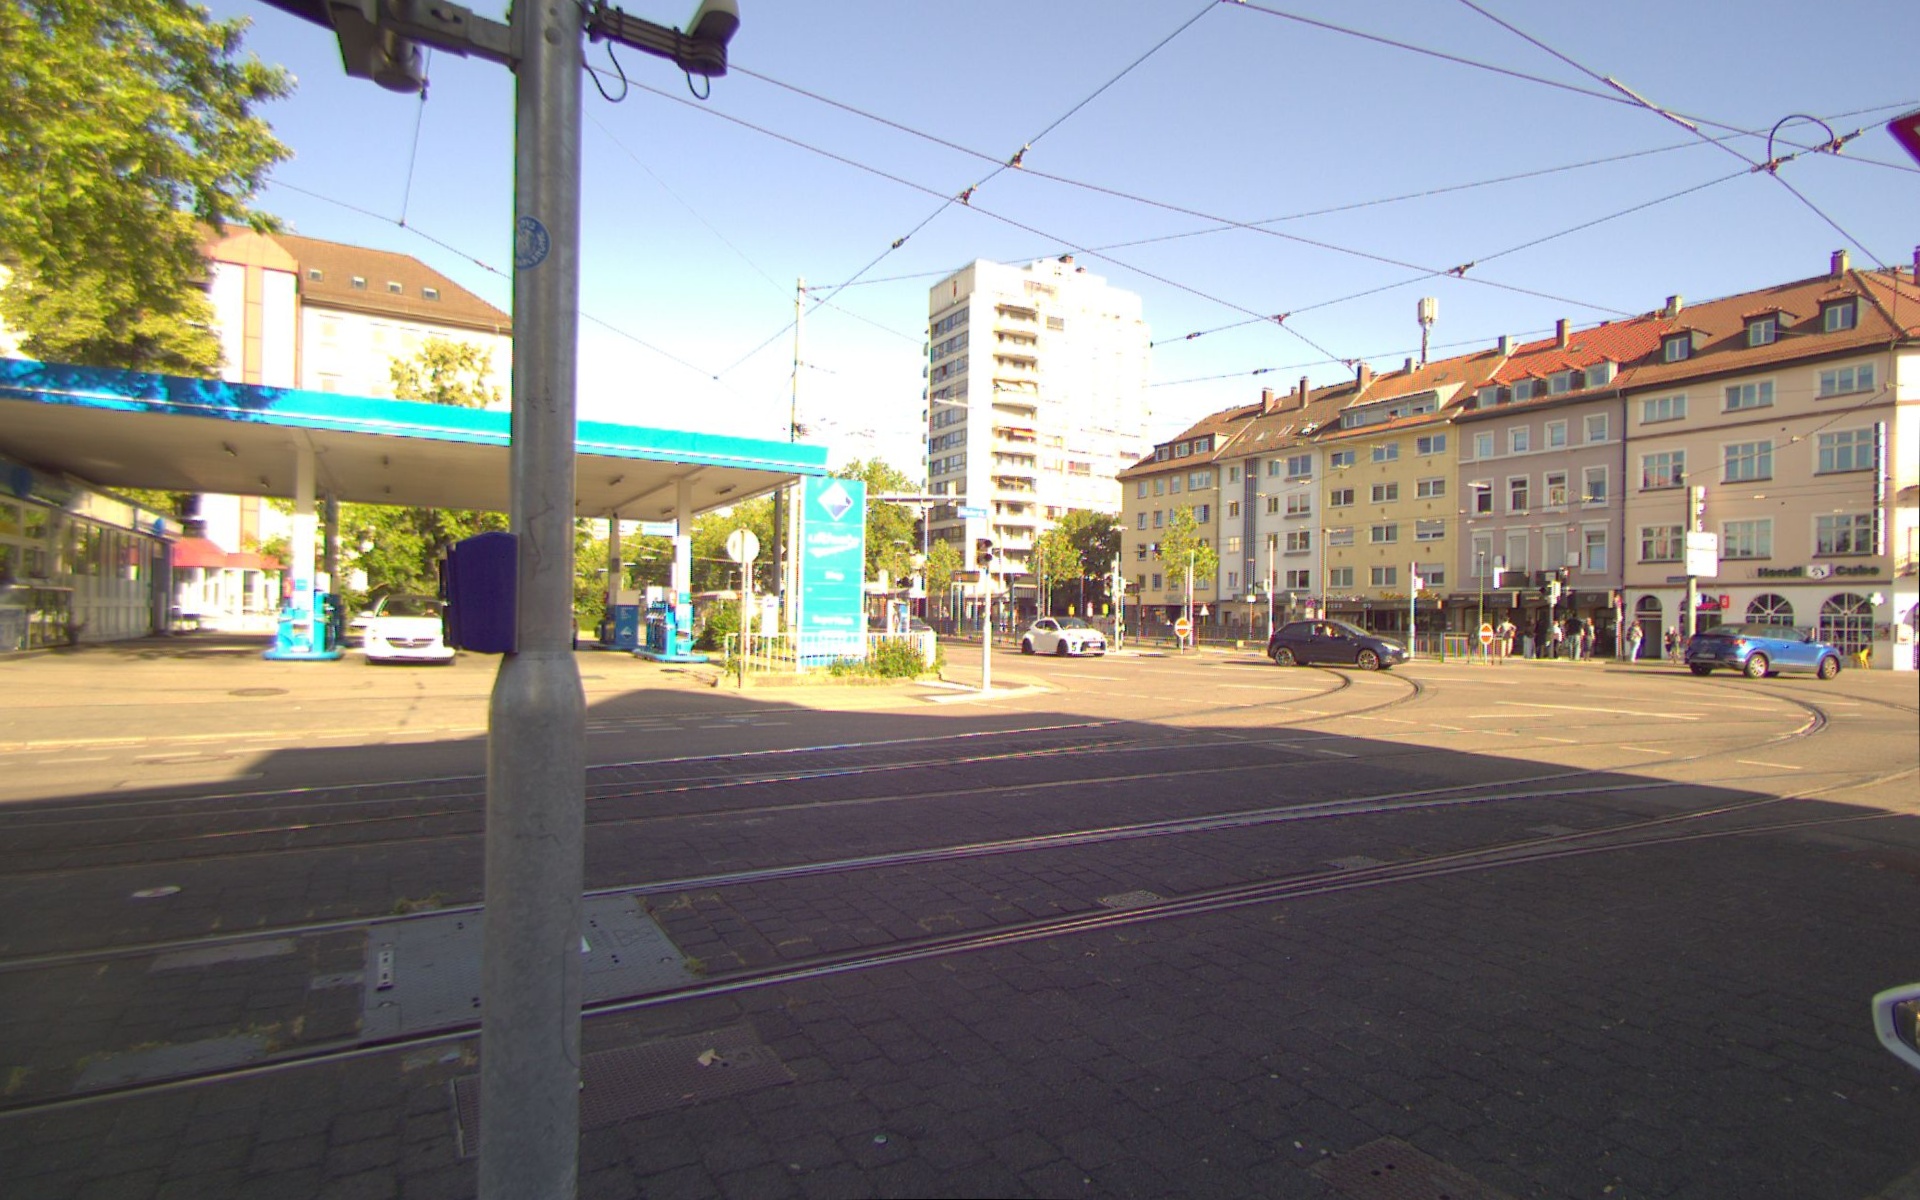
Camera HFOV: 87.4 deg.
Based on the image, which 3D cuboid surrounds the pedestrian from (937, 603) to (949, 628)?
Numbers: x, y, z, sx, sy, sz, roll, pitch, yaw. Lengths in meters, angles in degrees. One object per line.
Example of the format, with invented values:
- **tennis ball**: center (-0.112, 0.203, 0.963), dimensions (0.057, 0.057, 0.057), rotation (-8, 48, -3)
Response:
- **pedestrian**: center (-1.498, 1.331, 87.433), dimensions (0.729, 2.127, 0.880), rotation (2, 0, -21)

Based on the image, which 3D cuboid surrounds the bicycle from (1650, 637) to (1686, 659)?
- **bicycle**: center (34.003, 2.312, 48.241), dimensions (1.731, 1.044, 0.619), rotation (2, 0, -25)

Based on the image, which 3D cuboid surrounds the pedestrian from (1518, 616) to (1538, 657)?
- **pedestrian**: center (23.624, 1.514, 41.762), dimensions (0.492, 1.670, 0.520), rotation (2, 0, -30)

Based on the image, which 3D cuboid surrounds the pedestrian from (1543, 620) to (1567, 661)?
- **pedestrian**: center (25.136, 1.707, 42.458), dimensions (0.719, 1.670, 0.570), rotation (2, 0, -30)

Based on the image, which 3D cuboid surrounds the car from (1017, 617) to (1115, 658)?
- **car**: center (3.973, 1.393, 38.128), dimensions (1.874, 1.473, 3.981), rotation (0, -1, -27)

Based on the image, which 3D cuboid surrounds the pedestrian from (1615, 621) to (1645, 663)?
- **pedestrian**: center (26.365, 1.659, 39.536), dimensions (0.805, 1.615, 0.665), rotation (2, 0, -30)

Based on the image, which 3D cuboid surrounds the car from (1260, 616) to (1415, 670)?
- **car**: center (11.171, 1.229, 29.802), dimensions (3.938, 1.422, 1.824), rotation (0, -1, 39)

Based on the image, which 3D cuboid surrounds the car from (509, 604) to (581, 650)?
- **car**: center (-13.524, 0.857, 32.646), dimensions (1.659, 1.372, 3.559), rotation (2, 0, -31)

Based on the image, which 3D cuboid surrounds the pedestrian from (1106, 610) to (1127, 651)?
- **pedestrian**: center (6.359, 1.236, 40.712), dimensions (0.750, 1.631, 0.613), rotation (2, 0, 15)

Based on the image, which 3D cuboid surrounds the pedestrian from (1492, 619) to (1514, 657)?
- **pedestrian**: center (23.864, 1.671, 44.161), dimensions (0.609, 1.670, 0.581), rotation (2, 0, -30)

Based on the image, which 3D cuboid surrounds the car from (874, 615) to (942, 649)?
- **car**: center (-2.683, 1.588, 51.218), dimensions (1.770, 1.524, 3.886), rotation (-3, 1, -31)

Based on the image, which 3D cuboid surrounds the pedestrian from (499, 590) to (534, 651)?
- **pedestrian**: center (-12.937, 0.608, 29.302), dimensions (0.838, 1.724, 0.644), rotation (2, -3, -31)

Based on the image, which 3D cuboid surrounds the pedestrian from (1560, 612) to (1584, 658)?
- **pedestrian**: center (24.735, 1.412, 40.601), dimensions (0.669, 1.847, 0.524), rotation (2, 0, -30)

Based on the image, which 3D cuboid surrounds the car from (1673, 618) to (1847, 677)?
- **car**: center (22.904, 1.354, 28.796), dimensions (4.129, 1.596, 1.826), rotation (1, 0, -15)

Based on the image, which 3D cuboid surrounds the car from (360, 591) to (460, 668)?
- **car**: center (-12.035, 0.600, 22.013), dimensions (1.723, 1.455, 3.905), rotation (2, 1, -29)

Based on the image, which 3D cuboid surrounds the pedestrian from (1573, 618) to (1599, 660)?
- **pedestrian**: center (25.602, 1.581, 41.086), dimensions (0.831, 1.670, 0.579), rotation (2, 0, -30)

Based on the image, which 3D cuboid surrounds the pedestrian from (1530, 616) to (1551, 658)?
- **pedestrian**: center (23.772, 1.515, 41.133), dimensions (0.492, 1.670, 0.520), rotation (2, 0, -30)

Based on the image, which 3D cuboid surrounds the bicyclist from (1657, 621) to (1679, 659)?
- **bicyclist**: center (34.010, 1.913, 48.232), dimensions (0.606, 1.814, 0.619), rotation (2, 0, -25)
